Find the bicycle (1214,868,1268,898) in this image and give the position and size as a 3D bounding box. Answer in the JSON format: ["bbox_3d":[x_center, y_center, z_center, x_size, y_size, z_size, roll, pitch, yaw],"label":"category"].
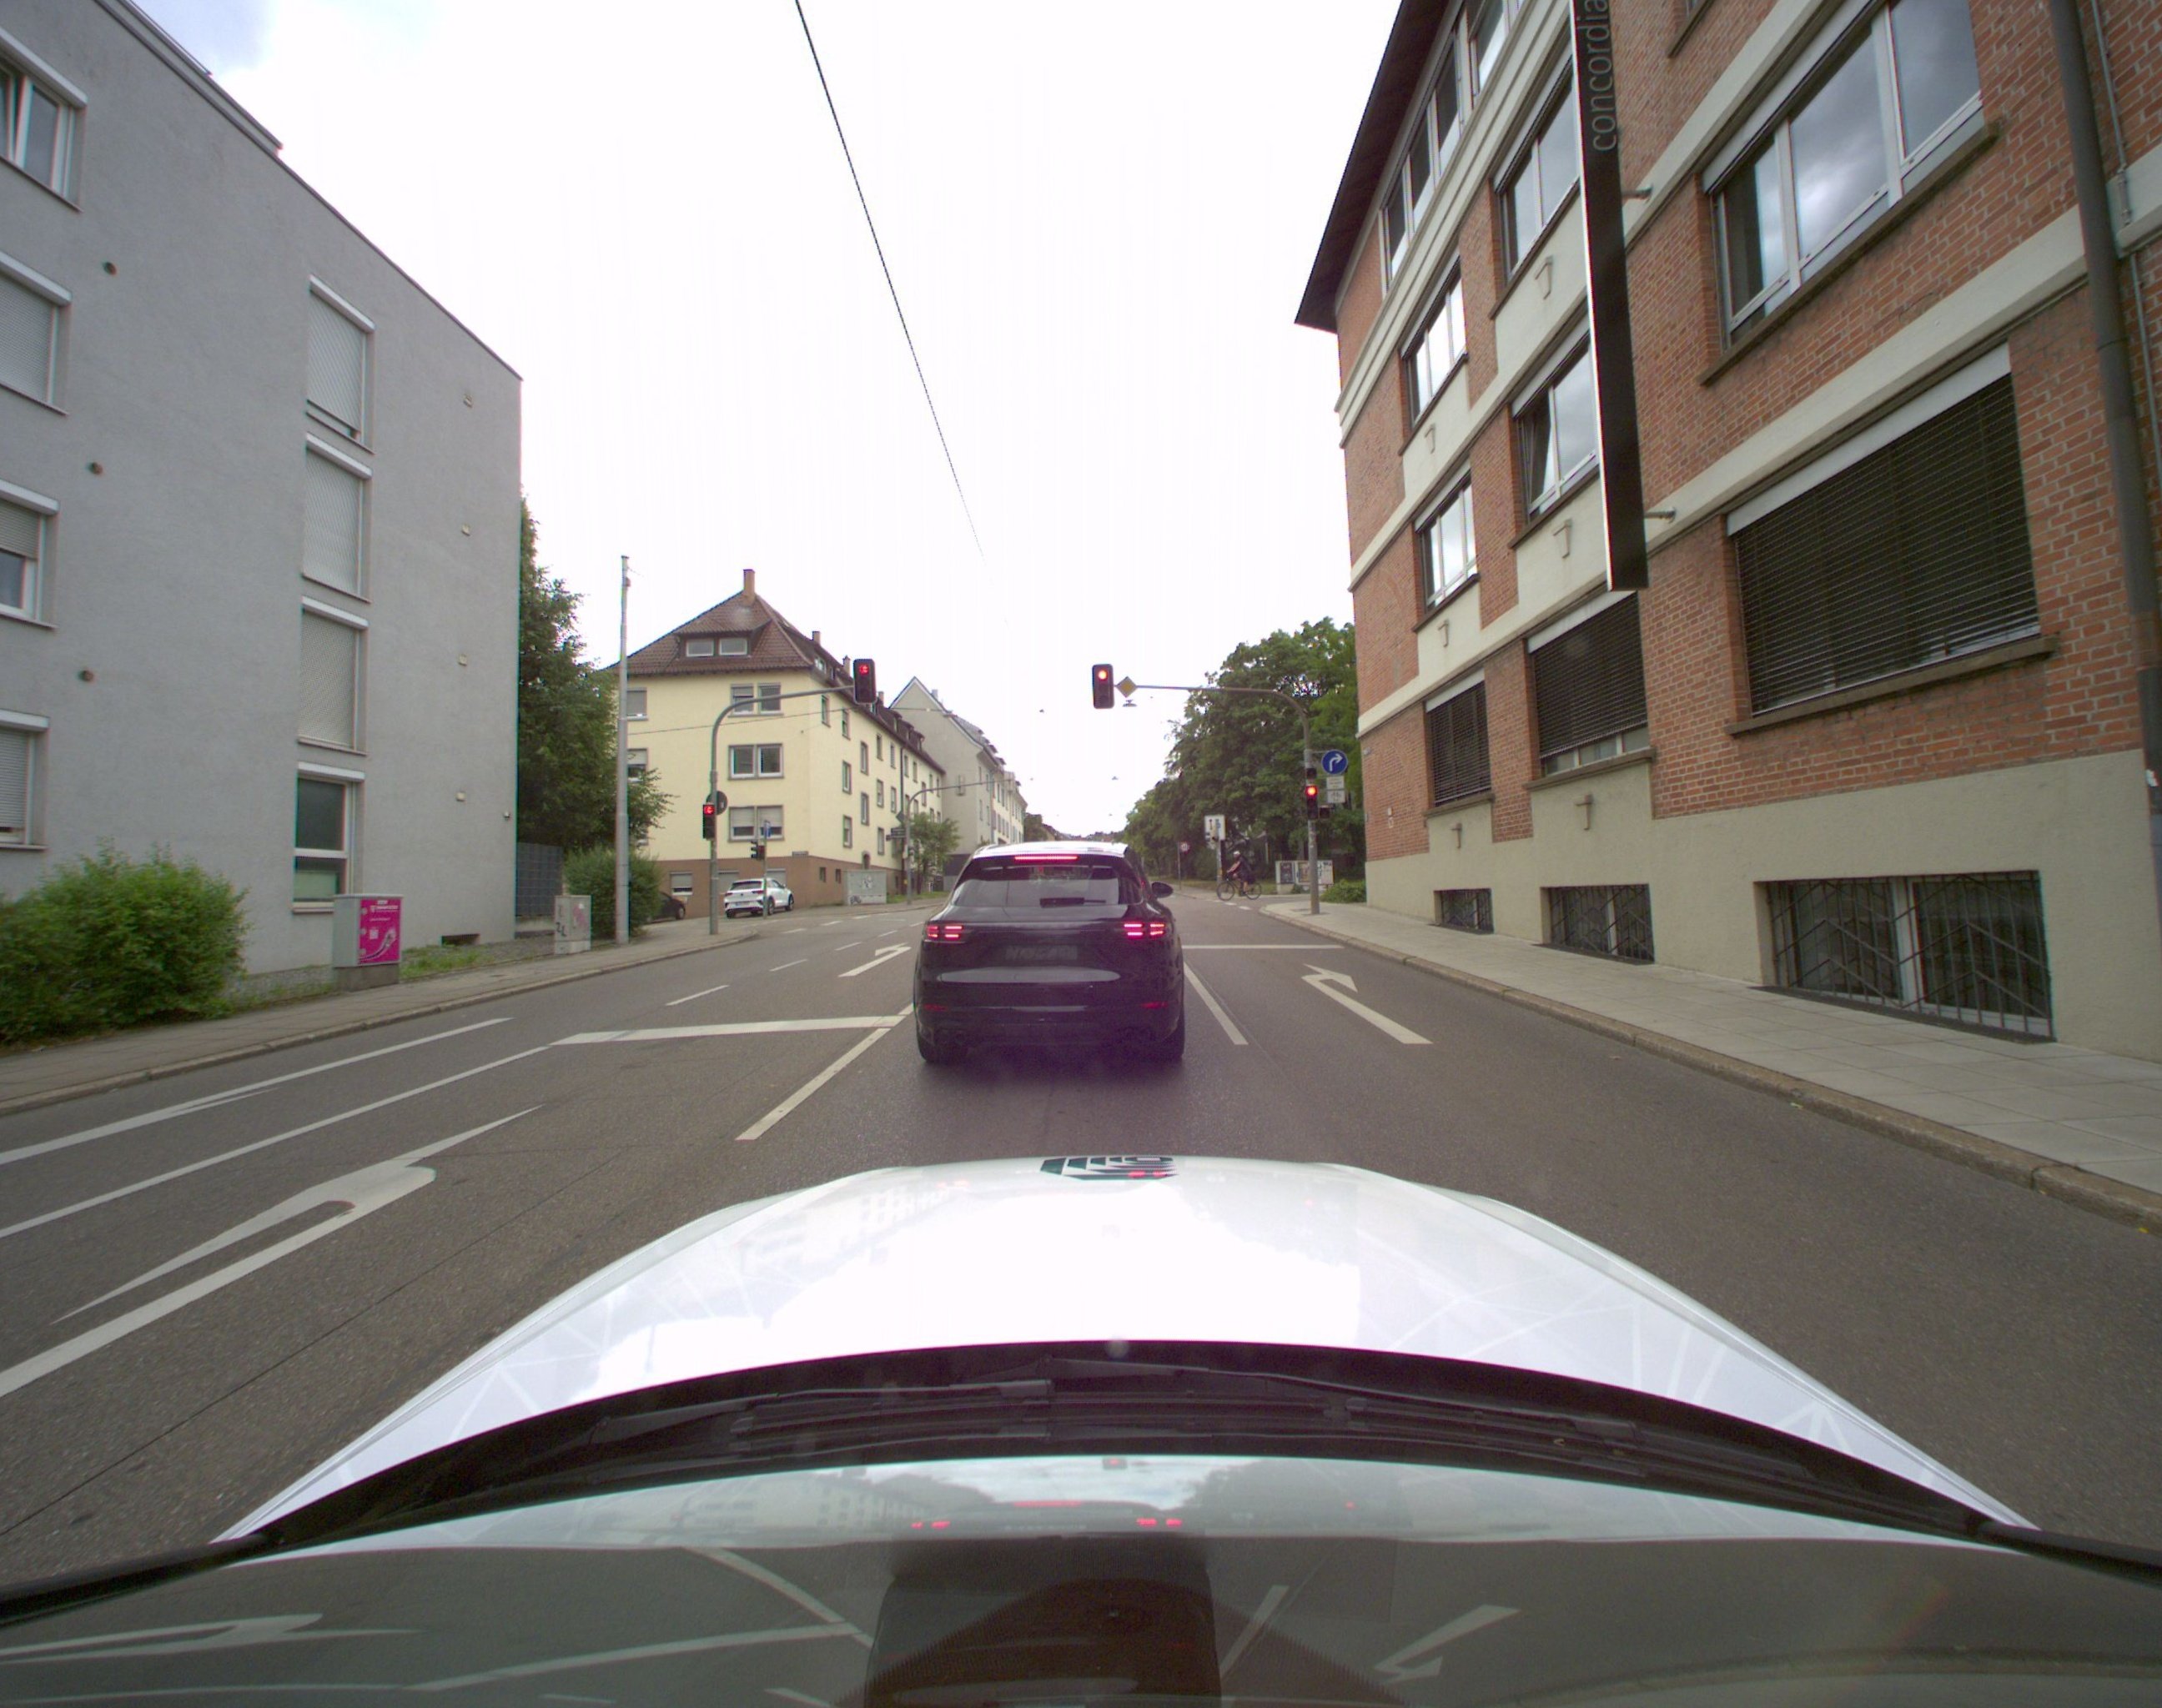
[{"bbox_3d":[6.055,1.082,30.829,1.905,1.081,0.701,0,-1,-10],"label":"bicycle"}]

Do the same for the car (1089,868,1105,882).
[{"bbox_3d":[1.775,2.297,89.707,1.683,1.552,3.888,0,-1,0],"label":"car"}]

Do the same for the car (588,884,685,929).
[{"bbox_3d":[-18.605,2.162,34.307,1.664,1.546,4.103,-5,-1,2],"label":"car"}]

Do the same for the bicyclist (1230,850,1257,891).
[{"bbox_3d":[6.162,0.609,30.854,0.809,1.519,0.704,0,-1,-9],"label":"bicyclist"}]

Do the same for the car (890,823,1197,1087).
[{"bbox_3d":[-0.183,0.671,7.285,1.986,1.697,4.001,0,-1,2],"label":"car"}]

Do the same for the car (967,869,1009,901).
[{"bbox_3d":[-5.145,1.716,45.566,1.657,1.519,3.742,-5,-1,2],"label":"car"}]

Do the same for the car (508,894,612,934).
[{"bbox_3d":[-21.704,2.454,34.105,1.663,1.362,4.001,-1,-1,2],"label":"car"}]

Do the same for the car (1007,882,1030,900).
[{"bbox_3d":[-5.346,3.192,69.914,1.665,1.362,3.998,-1,-1,-1],"label":"car"}]

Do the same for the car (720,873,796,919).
[{"bbox_3d":[-13.538,1.722,34.408,1.666,1.662,3.996,-4,0,-3],"label":"car"}]
